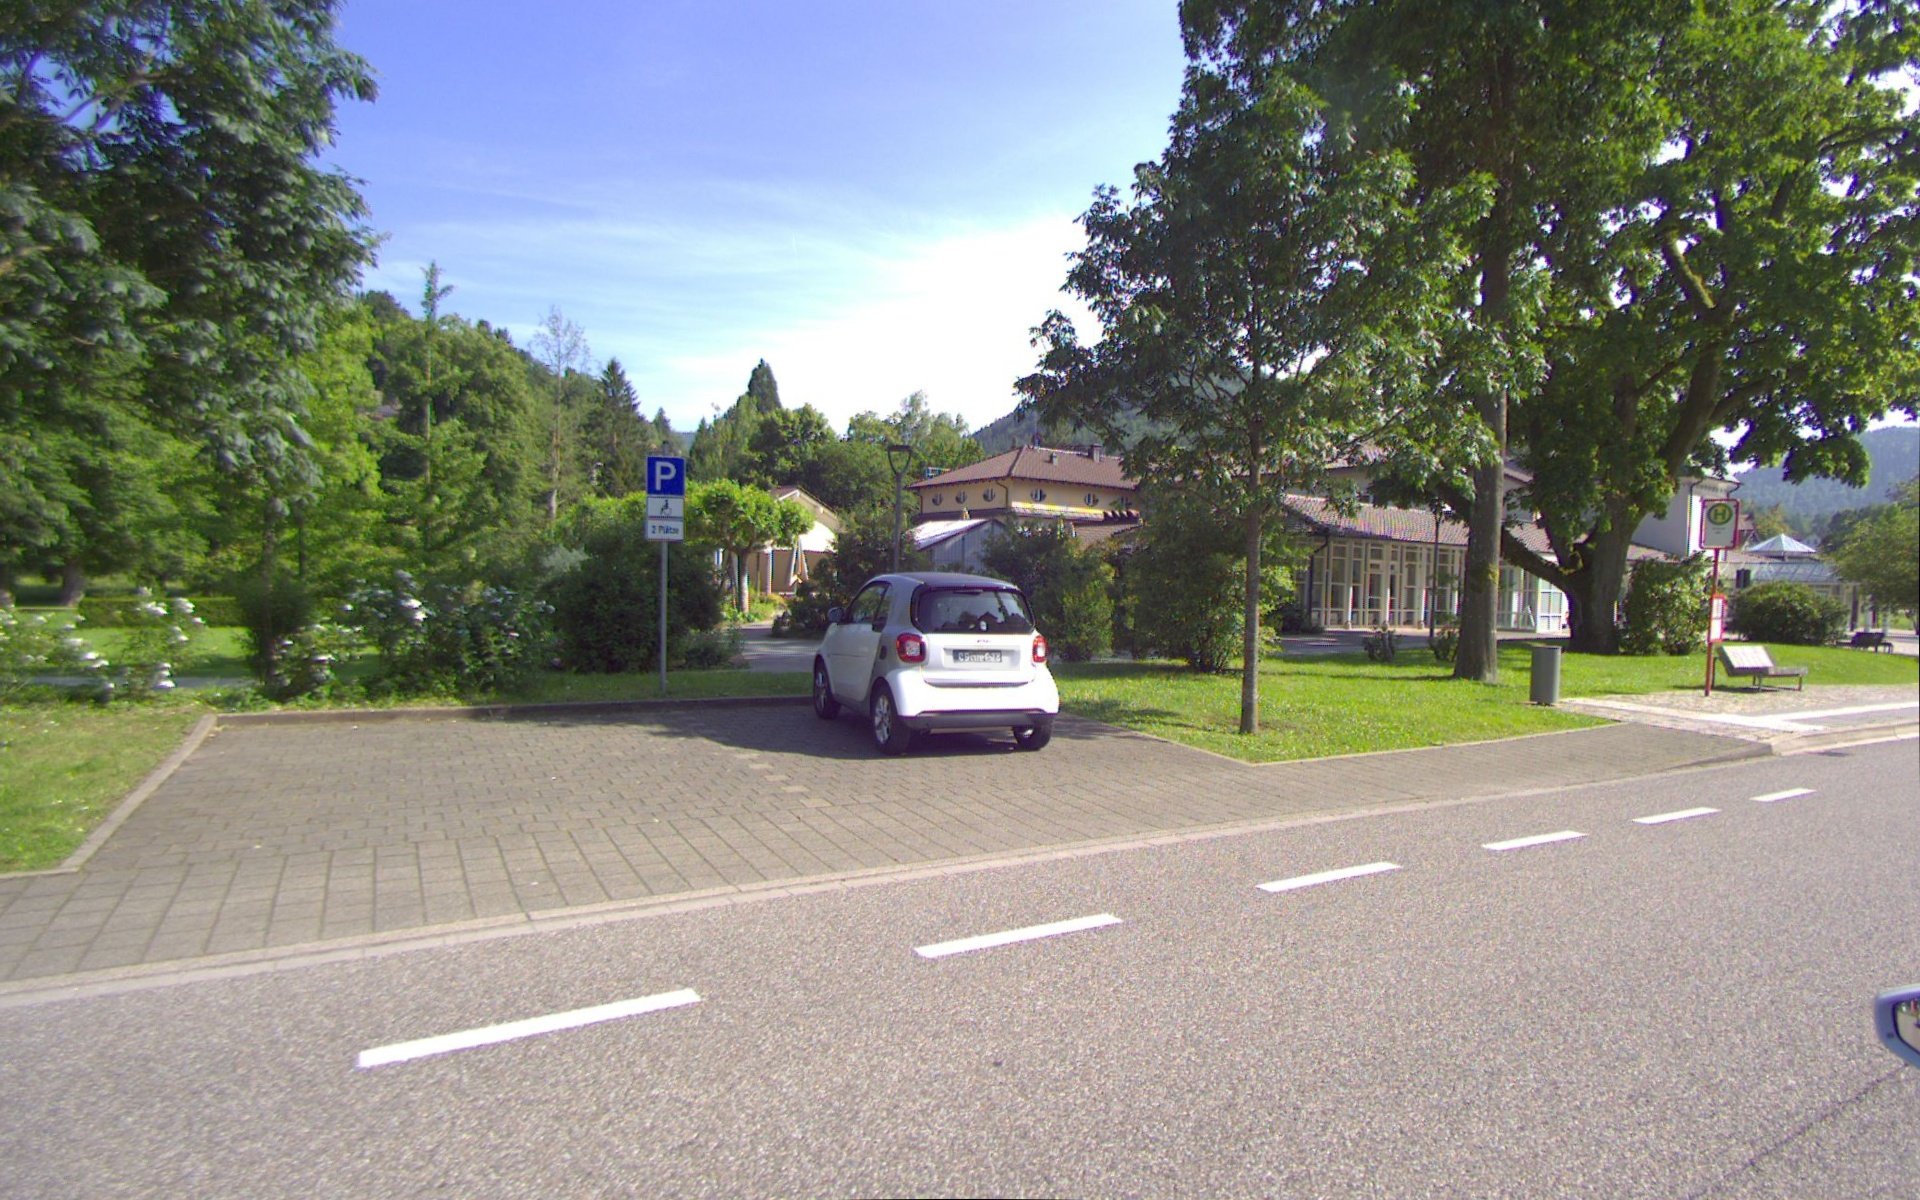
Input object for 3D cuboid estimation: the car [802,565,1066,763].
[{"bbox_3d":[-0.373,0.513,9.839,1.659,1.567,2.643,2,3,-24],"label":"car"}]
